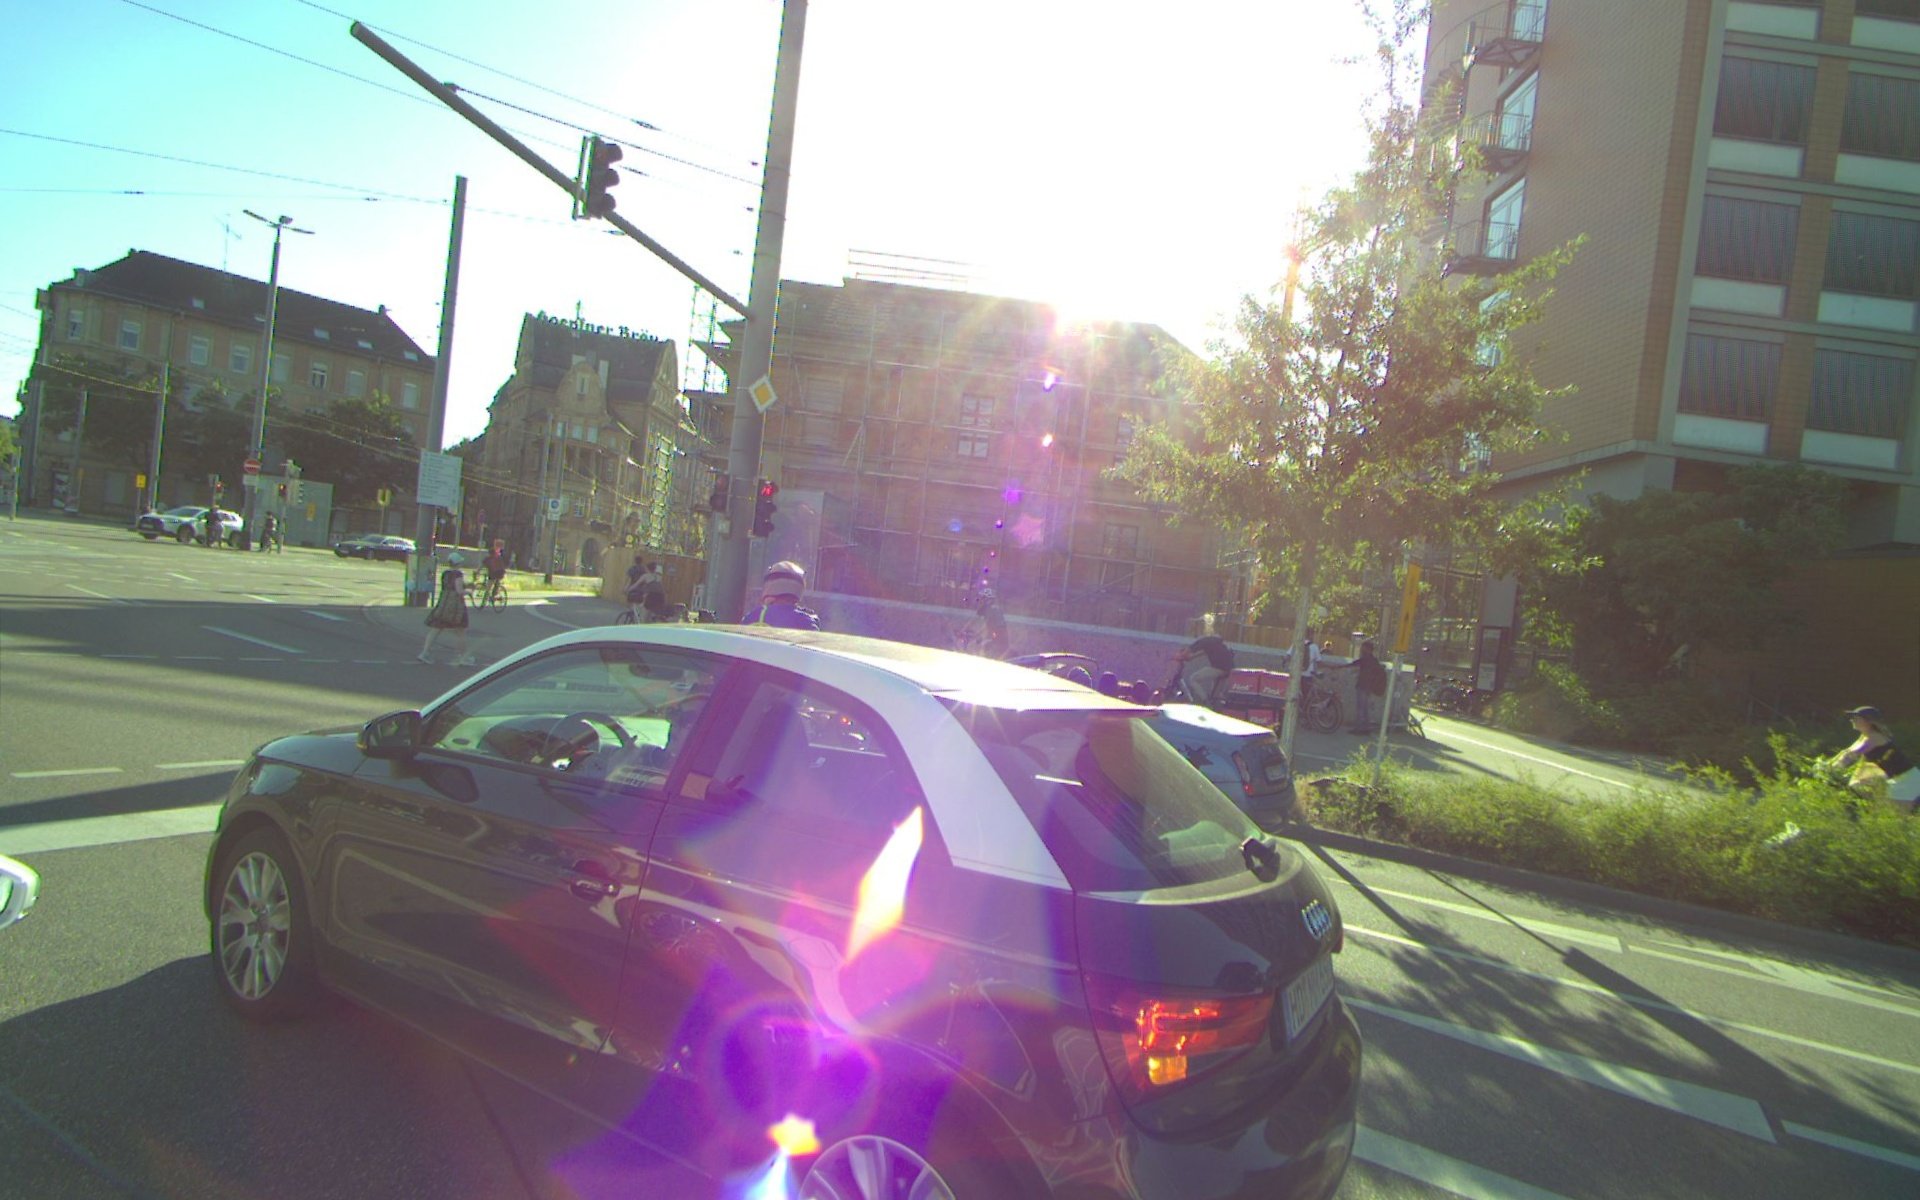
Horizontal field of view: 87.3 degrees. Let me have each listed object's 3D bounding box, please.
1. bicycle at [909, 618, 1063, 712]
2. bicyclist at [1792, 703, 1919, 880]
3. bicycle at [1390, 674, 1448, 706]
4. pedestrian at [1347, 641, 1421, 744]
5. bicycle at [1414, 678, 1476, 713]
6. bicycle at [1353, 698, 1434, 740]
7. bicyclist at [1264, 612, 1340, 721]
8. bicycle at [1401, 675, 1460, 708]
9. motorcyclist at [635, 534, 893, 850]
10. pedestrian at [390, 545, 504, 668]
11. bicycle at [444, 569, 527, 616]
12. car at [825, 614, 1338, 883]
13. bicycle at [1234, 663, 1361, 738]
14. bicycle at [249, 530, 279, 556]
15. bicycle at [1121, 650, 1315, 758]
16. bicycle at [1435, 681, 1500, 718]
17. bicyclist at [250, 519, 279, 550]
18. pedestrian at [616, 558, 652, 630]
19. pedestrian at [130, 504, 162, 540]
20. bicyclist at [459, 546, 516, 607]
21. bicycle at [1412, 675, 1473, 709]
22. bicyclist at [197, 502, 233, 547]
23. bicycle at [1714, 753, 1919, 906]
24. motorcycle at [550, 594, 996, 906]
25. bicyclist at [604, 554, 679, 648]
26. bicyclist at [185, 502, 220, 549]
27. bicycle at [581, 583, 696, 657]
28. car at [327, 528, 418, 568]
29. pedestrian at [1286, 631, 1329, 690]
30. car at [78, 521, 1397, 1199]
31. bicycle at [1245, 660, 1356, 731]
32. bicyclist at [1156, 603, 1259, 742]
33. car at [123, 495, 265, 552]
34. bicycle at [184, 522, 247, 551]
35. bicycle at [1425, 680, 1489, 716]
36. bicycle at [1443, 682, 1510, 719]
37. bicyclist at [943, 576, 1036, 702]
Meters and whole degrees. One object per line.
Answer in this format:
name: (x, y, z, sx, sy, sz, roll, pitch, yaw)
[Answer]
bicycle: (0.405, 1.018, 16.130, 2.250, 1.170, 0.779, 7, 1, 26)
bicyclist: (9.157, 1.895, 10.191, 0.835, 1.568, 0.716, 9, 1, 32)
bicycle: (15.505, 3.030, 33.986, 1.623, 0.868, 0.529, 7, 1, 1)
pedestrian: (7.550, 1.643, 17.911, 0.803, 1.677, 0.781, 9, -2, -42)
bicycle: (15.233, 2.996, 31.615, 1.623, 0.868, 0.529, 7, 1, 1)
bicycle: (8.265, 2.263, 19.204, 1.332, 0.547, 0.430, 7, 2, 18)
bicyclist: (6.103, 1.187, 17.936, 0.881, 1.808, 0.786, 6, -1, 40)
bicycle: (15.568, 3.022, 33.327, 1.623, 0.868, 0.529, 7, 1, 1)
motorcyclist: (-1.213, 0.548, 6.363, 0.921, 1.742, 1.097, 6, -1, 33)
pedestrian: (-7.337, 0.119, 14.439, 0.686, 1.626, 1.096, 9, 1, 21)
bicycle: (-12.009, -0.199, 25.444, 2.212, 0.964, 0.721, 5, -1, 32)
car: (0.978, 1.126, 8.753, 3.914, 1.461, 1.803, 7, -2, 33)
bicycle: (6.011, 1.765, 17.985, 1.935, 1.052, 0.788, 6, 2, 40)
bicycle: (-30.408, -2.506, 43.930, 0.854, 0.916, 2.278, 8, 0, -38)
bicycle: (3.736, 1.477, 14.714, 2.540, 1.170, 0.778, 7, 1, 36)
bicycle: (15.331, 3.000, 30.407, 1.623, 0.868, 0.529, 7, 1, 1)
bicyclist: (-30.375, -2.859, 43.938, 0.854, 1.191, 0.707, 8, 1, -39)
pedestrian: (-8.059, -0.146, 24.869, 0.688, 1.693, 0.825, 5, 2, -20)
pedestrian: (-41.065, -3.927, 50.743, 0.770, 1.697, 0.925, 7, 1, 31)
bicyclist: (-11.941, -0.588, 25.433, 1.058, 1.401, 0.721, 5, -1, 32)
bicycle: (15.632, 2.991, 32.611, 1.623, 0.868, 0.529, 7, 1, 1)
bicyclist: (-31.381, -3.165, 42.388, 0.844, 1.711, 0.651, 8, 1, 1)
bicycle: (8.968, 2.326, 10.275, 1.837, 1.135, 0.718, 9, 1, 32)
motorcycle: (-1.234, 0.814, 6.355, 2.610, 1.394, 1.097, 6, -1, 33)
bicyclist: (-6.226, 0.015, 19.643, 1.074, 1.700, 0.778, 7, 3, 30)
bicyclist: (-31.431, -3.085, 41.751, 0.851, 1.800, 0.584, 6, 1, 2)
bicycle: (-6.303, 0.375, 19.690, 2.252, 1.172, 0.778, 7, 3, 30)
car: (-32.254, -2.813, 55.381, 1.915, 1.582, 4.360, 9, 0, 8)
pedestrian: (12.979, 2.246, 37.574, 1.275, 2.039, 0.995, 7, 1, 20)
car: (-0.843, 0.733, 3.313, 3.910, 1.461, 1.805, 7, -1, 29)
bicycle: (6.383, 1.779, 18.982, 0.621, 1.052, 1.946, 4, 1, -33)
bicyclist: (3.640, 1.052, 14.791, 1.076, 1.856, 0.778, 7, 1, 36)
car: (-33.376, -3.296, 44.030, 1.916, 1.821, 4.853, 7, 0, 8)
bicycle: (-31.450, -2.658, 42.536, 0.844, 0.916, 2.303, 9, 0, 1)
bicycle: (15.310, 3.002, 30.989, 1.623, 0.868, 0.529, 7, 1, 1)
bicycle: (15.322, 2.982, 29.845, 1.623, 0.868, 0.529, 7, 1, 1)
bicyclist: (0.475, 0.619, 16.114, 1.074, 1.853, 0.779, 7, 1, 26)
